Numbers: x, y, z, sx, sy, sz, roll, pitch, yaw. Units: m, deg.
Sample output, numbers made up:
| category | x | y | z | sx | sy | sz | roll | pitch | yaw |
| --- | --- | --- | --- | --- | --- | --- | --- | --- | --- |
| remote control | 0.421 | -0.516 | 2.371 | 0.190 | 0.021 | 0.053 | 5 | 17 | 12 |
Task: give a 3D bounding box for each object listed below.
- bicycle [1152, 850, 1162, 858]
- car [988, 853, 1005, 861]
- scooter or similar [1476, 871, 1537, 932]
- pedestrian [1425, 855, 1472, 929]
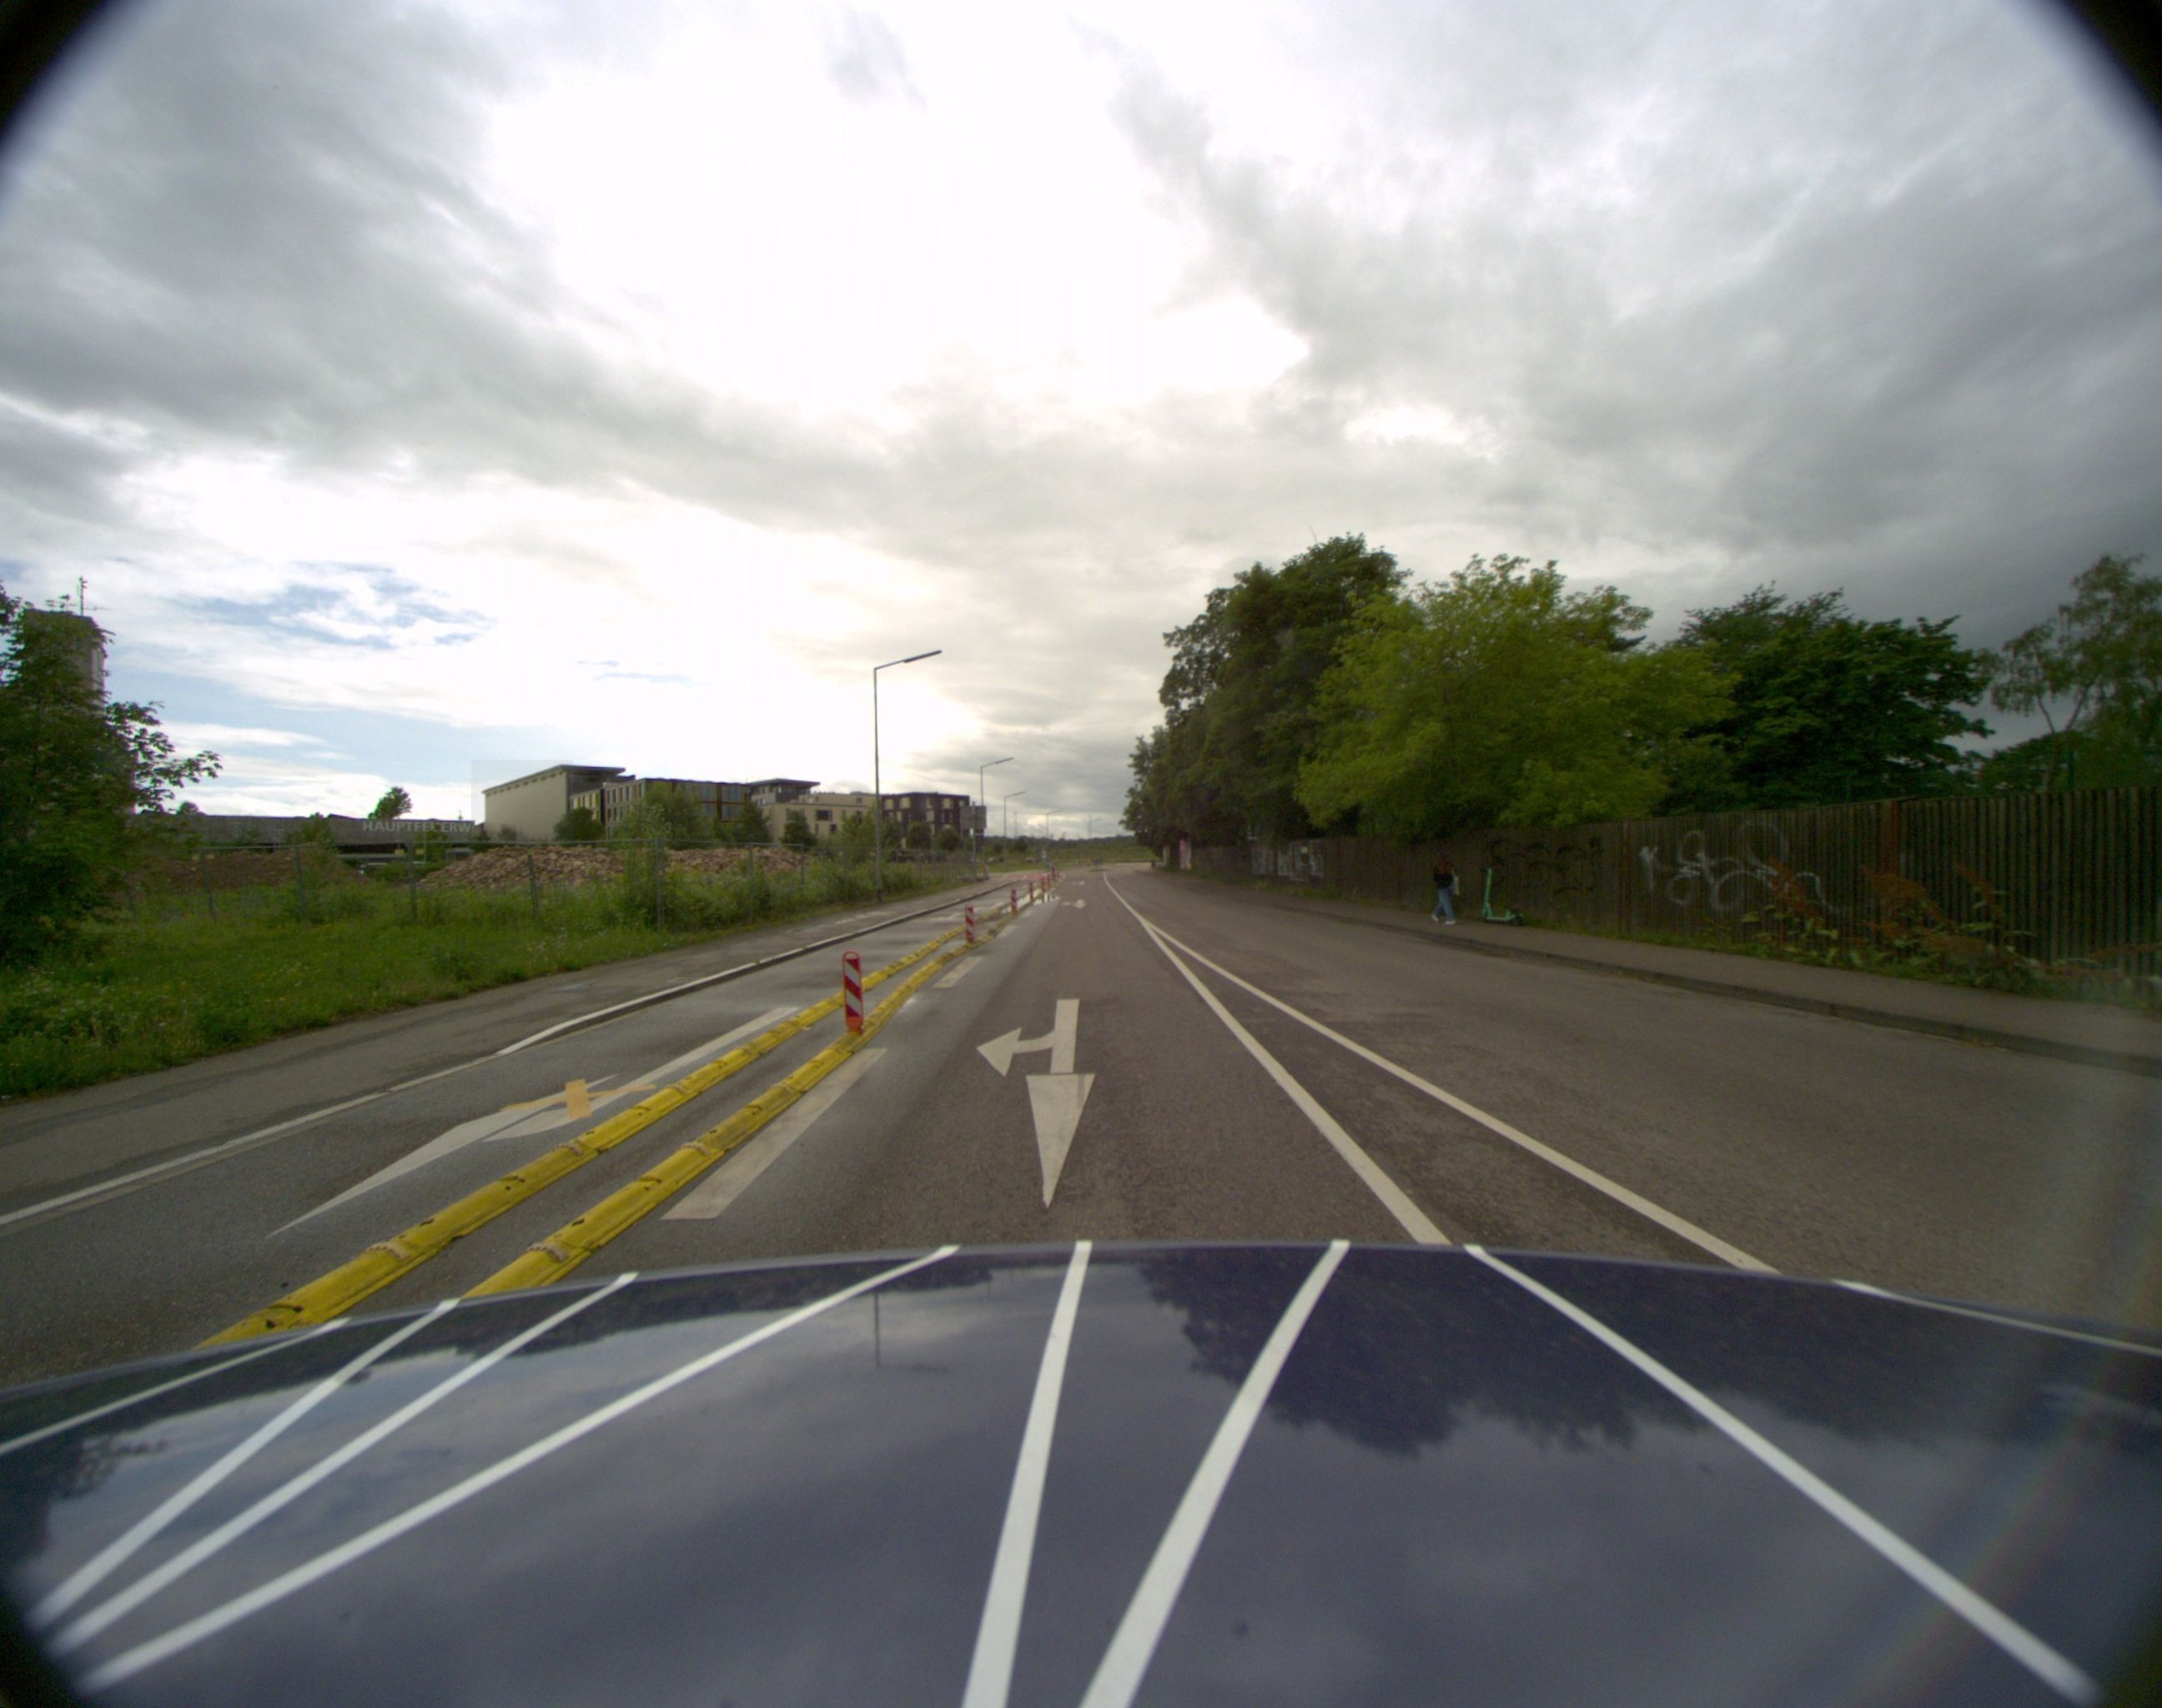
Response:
| category | x | y | z | sx | sy | sz | roll | pitch | yaw |
| --- | --- | --- | --- | --- | --- | --- | --- | --- | --- |
| bicycle | 9.333 | -0.025 | 93.079 | 0.582 | 0.992 | 1.773 | -3 | 0 | 28 |
| car | -21.076 | 0.657 | 189.592 | 1.994 | 2.002 | 4.008 | 0 | 0 | 42 |
| scooter or similar | 8.622 | 0.939 | 15.454 | 0.424 | 1.164 | 1.303 | -1 | 0 | -5 |
| pedestrian | 7.783 | 0.791 | 16.112 | 0.614 | 1.520 | 0.724 | -1 | 1 | -4 |
